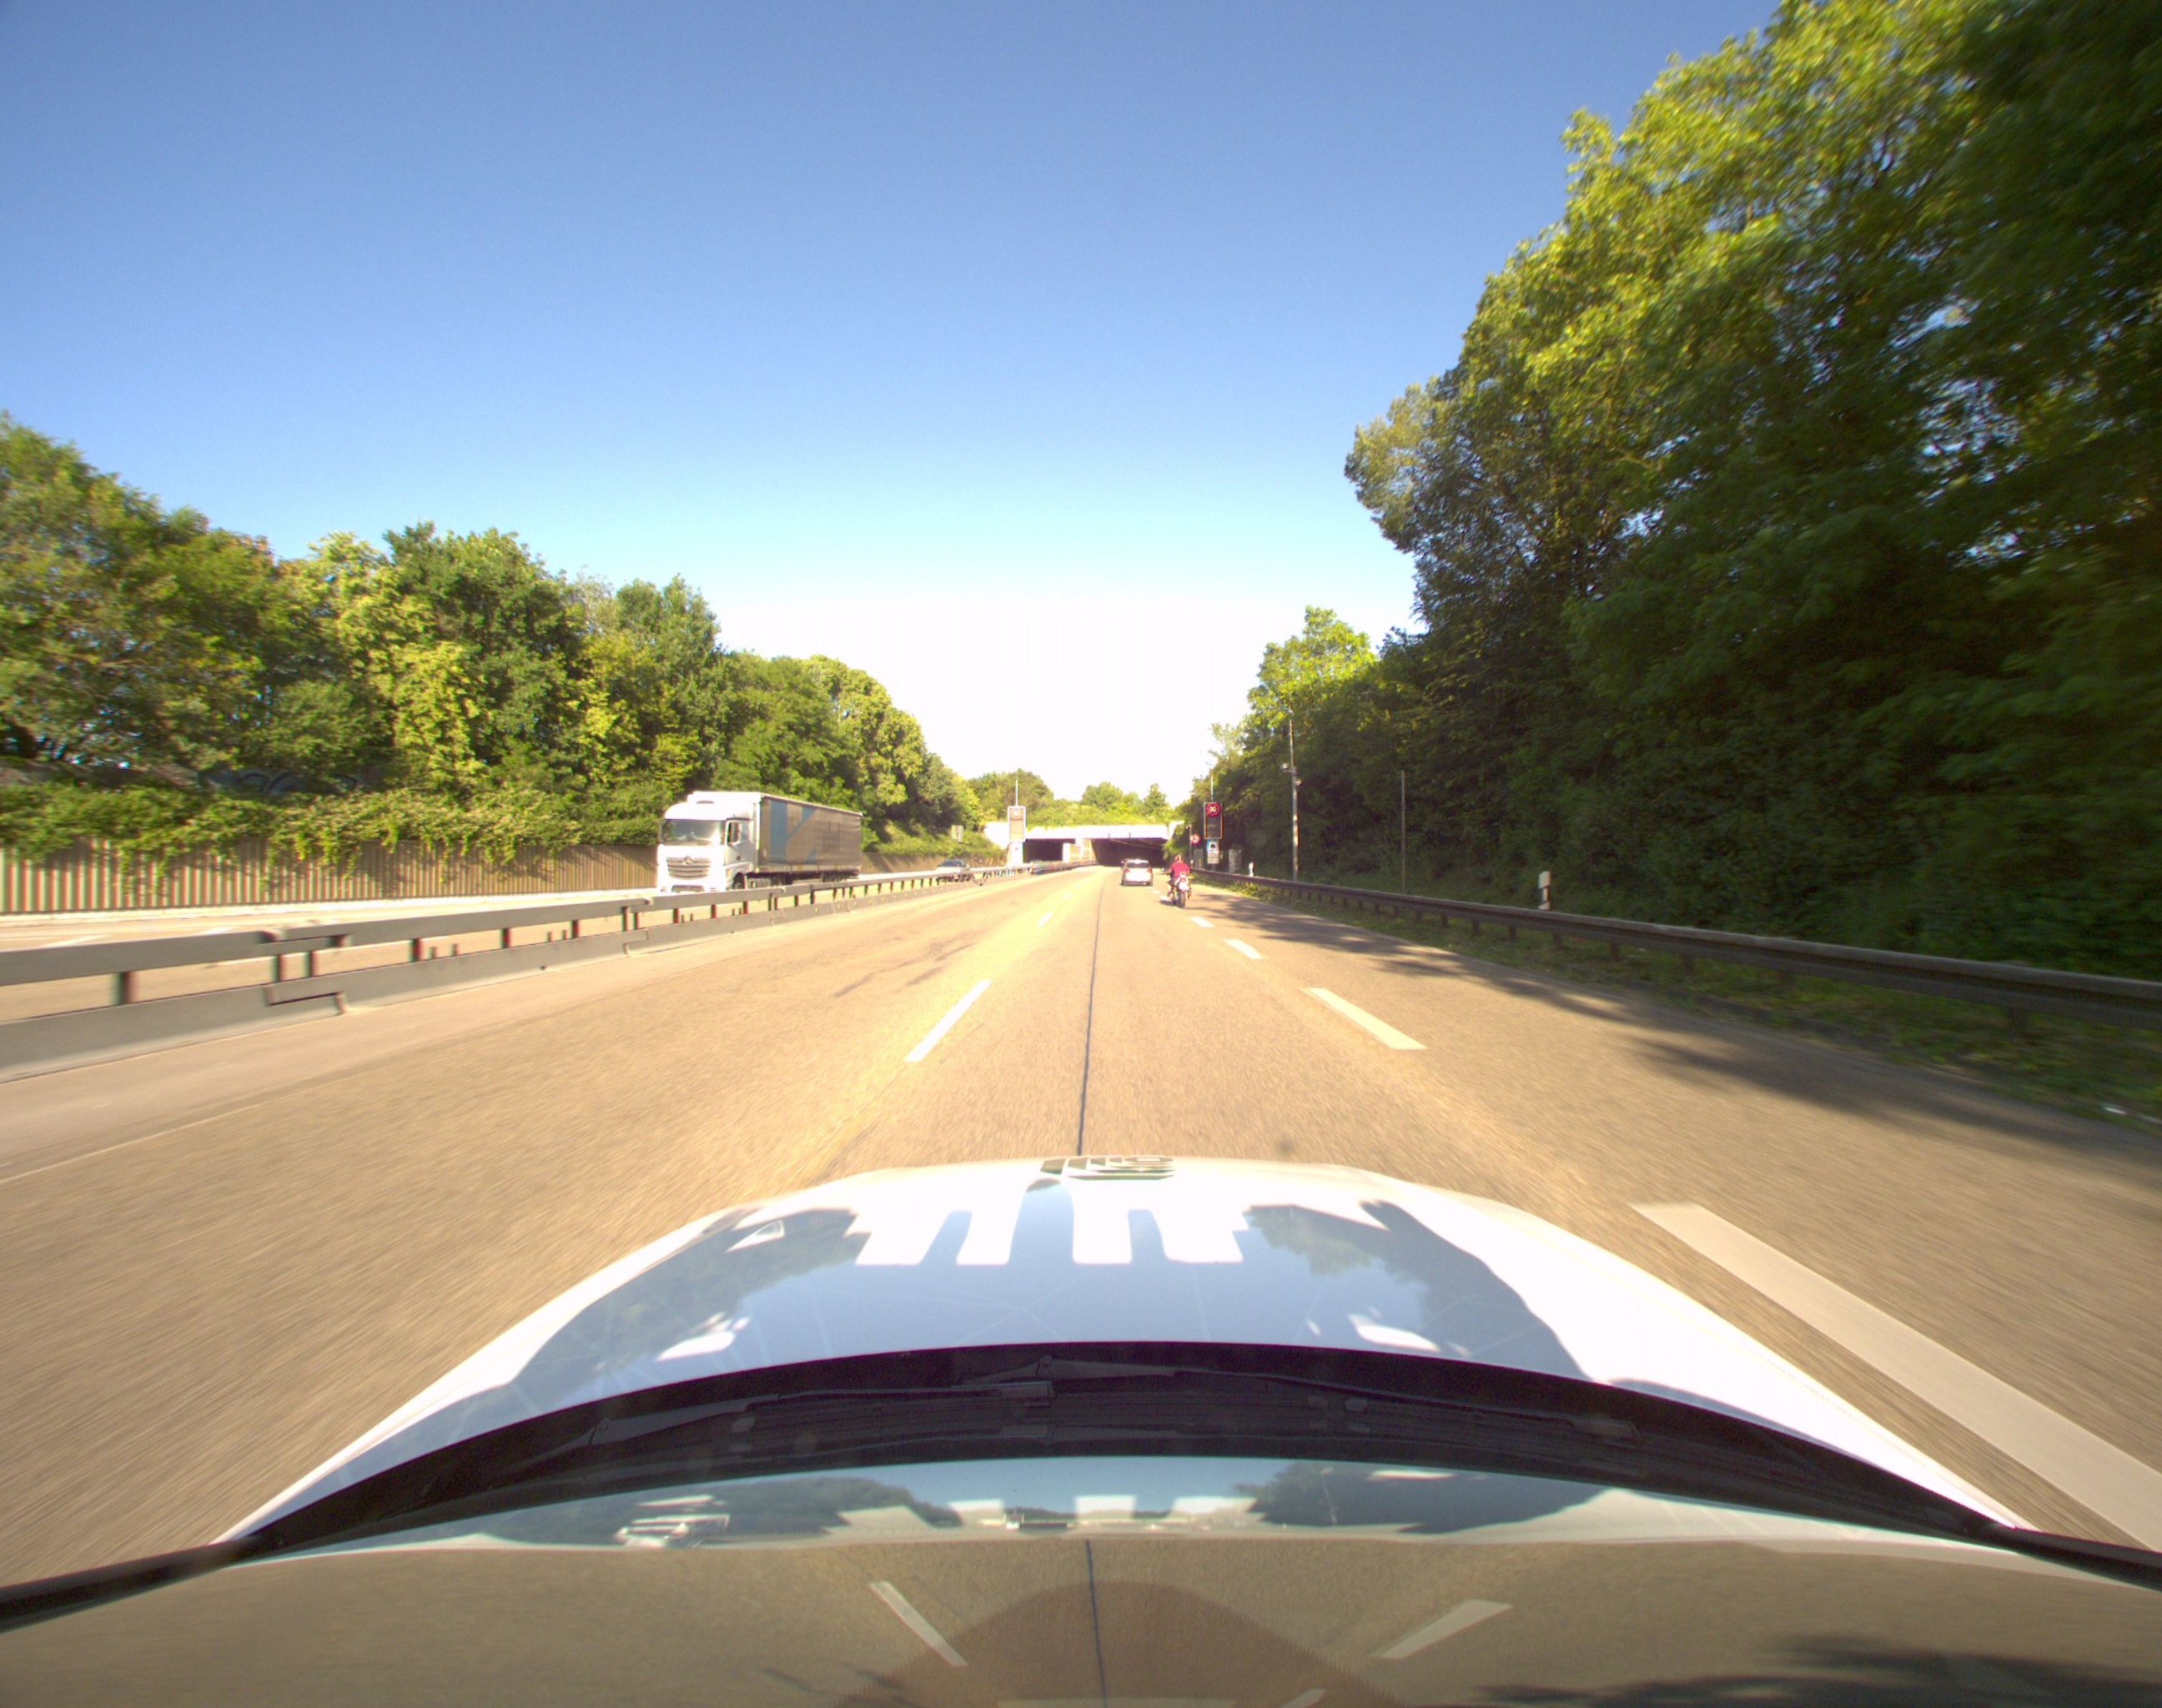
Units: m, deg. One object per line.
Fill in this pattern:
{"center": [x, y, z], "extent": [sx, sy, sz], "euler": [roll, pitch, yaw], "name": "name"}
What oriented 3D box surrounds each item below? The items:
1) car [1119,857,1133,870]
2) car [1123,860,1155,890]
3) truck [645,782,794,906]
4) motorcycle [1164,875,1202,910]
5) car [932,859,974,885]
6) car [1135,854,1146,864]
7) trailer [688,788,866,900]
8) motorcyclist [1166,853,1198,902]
{"center": [6.566, 1.347, 119.422], "extent": [1.987, 1.926, 4.000], "euler": [0, 0, 1], "name": "car"}
{"center": [3.325, 1.189, 47.035], "extent": [1.661, 1.552, 4.002], "euler": [2, 0, 2], "name": "car"}
{"center": [-13.826, -0.371, 31.794], "extent": [2.726, 4.261, 6.389], "euler": [2, 0, 1], "name": "truck"}
{"center": [3.178, 1.198, 25.717], "extent": [0.856, 0.991, 2.728], "euler": [1, -1, 0], "name": "motorcycle"}
{"center": [-9.081, 1.225, 58.215], "extent": [1.986, 1.658, 4.940], "euler": [2, 0, 2], "name": "car"}
{"center": [11.787, 1.064, 160.567], "extent": [1.984, 1.926, 4.006], "euler": [0, 0, 5], "name": "car"}
{"center": [-13.673, -0.448, 38.688], "extent": [2.737, 4.280, 14.089], "euler": [2, 0, 1], "name": "trailer"}
{"center": [3.189, 0.718, 25.789], "extent": [0.880, 1.501, 1.063], "euler": [2, 0, 0], "name": "motorcyclist"}
